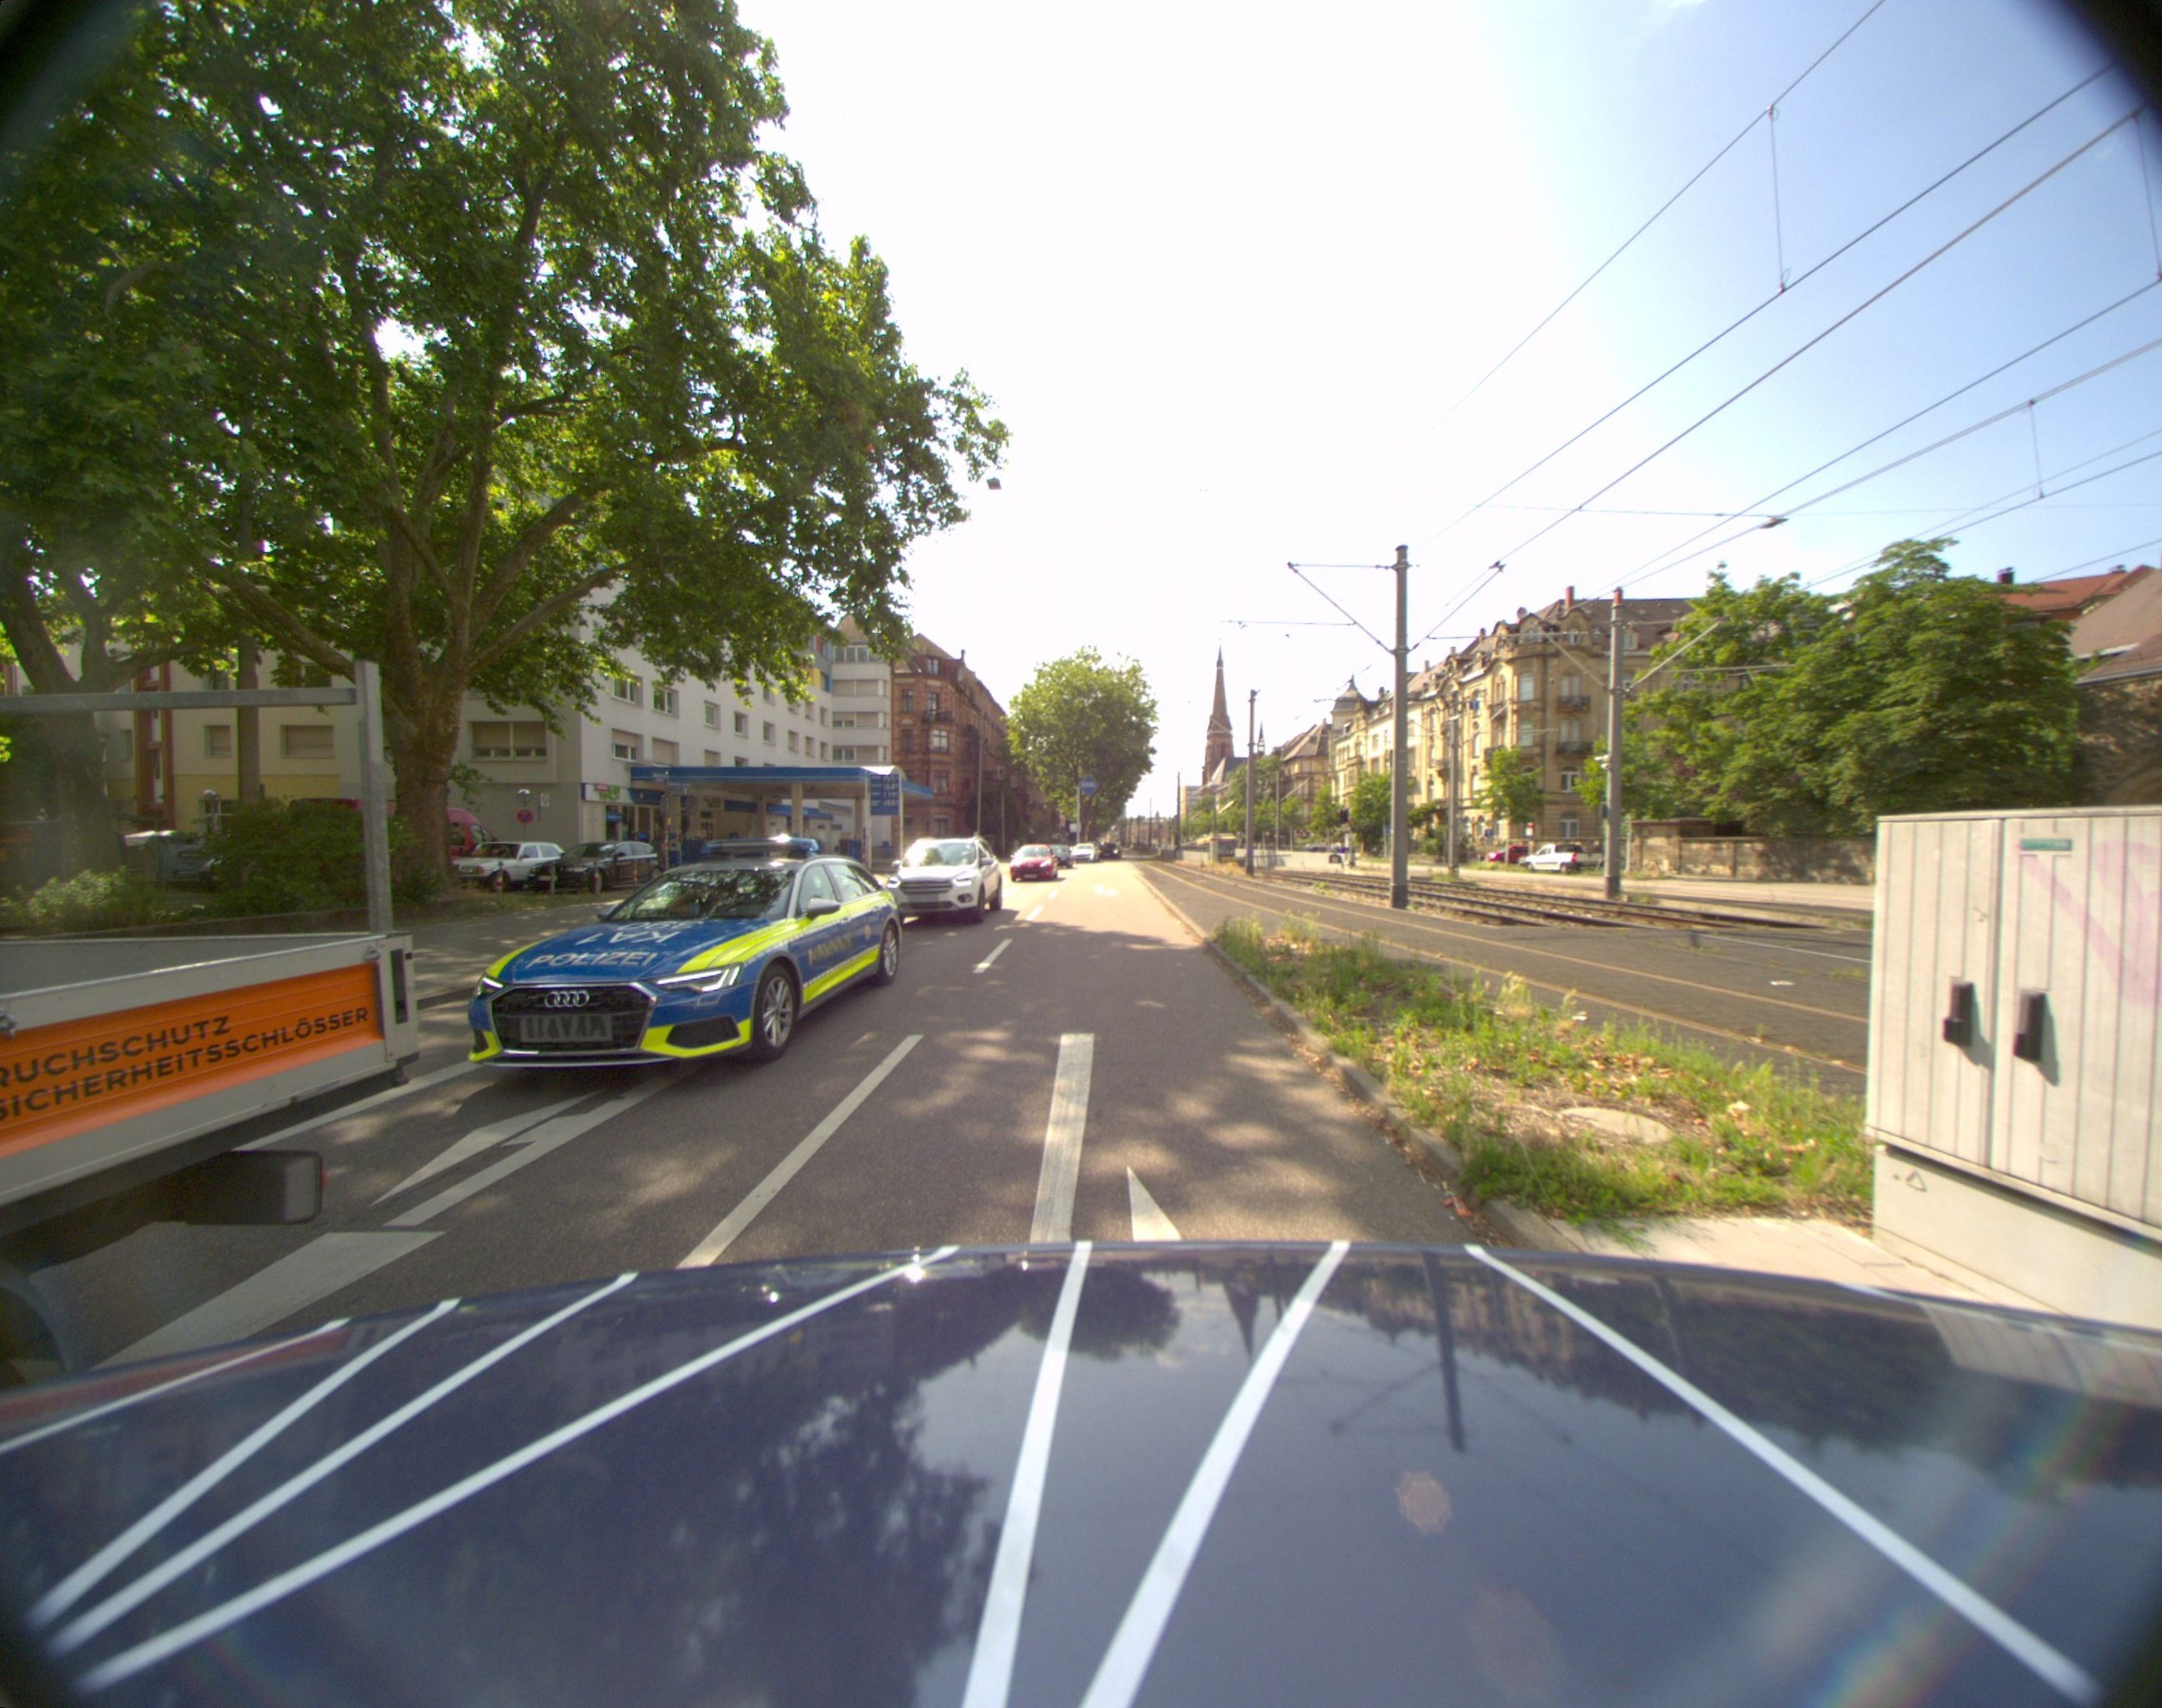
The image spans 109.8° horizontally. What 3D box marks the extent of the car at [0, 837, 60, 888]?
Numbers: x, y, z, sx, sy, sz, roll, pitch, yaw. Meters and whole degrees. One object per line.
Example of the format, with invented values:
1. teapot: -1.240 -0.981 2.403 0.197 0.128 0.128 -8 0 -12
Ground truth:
1. car: -33.386 0.311 22.172 1.663 1.511 3.999 -2 2 1

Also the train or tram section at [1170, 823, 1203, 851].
1. train or tram section: 14.150 -2.334 103.319 2.860 3.560 12.832 0 1 1

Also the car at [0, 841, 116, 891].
1. car: -30.743 0.371 21.464 1.766 1.356 3.999 -2 2 1

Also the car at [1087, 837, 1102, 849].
1. car: 1.582 -1.286 88.979 1.500 1.296 3.491 -2 2 4

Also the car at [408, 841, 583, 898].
1. car: -16.271 0.354 21.409 1.756 1.402 3.999 0 2 1

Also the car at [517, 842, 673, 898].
1. car: -13.538 0.375 21.480 1.756 1.402 3.999 0 2 1

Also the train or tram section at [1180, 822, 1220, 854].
1. train or tram section: 13.998 -1.962 90.459 2.860 3.560 12.832 0 1 1

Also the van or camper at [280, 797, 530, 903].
1. van or camper: -19.107 -0.169 21.971 2.107 2.626 5.349 -2 2 3

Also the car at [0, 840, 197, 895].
1. car: -28.249 0.341 21.457 1.766 1.356 3.999 -2 2 1

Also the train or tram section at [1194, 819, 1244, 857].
1. train or tram section: 13.885 -1.618 77.571 2.860 3.560 12.832 0 1 1

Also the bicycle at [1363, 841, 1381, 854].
1. bicycle: 29.037 -0.623 75.883 0.659 1.241 2.942 -3 1 2

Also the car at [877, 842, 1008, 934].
1. car: -2.730 0.584 16.068 1.764 1.597 4.678 -1 1 1

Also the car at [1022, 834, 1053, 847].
1. car: -6.369 -1.968 111.737 4.412 1.907 1.999 0 2 0

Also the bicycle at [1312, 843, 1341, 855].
1. bicycle: 26.241 -0.561 81.223 2.956 1.239 0.792 0 2 -11

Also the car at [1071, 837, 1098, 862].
1. car: 0.334 -0.368 57.235 1.952 1.598 5.074 0 3 1

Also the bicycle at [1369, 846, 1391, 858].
1. bicycle: 25.807 -0.187 65.650 1.710 1.063 0.471 0 2 -4

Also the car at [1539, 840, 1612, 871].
1. car: 24.952 0.032 38.499 1.671 1.408 3.846 2 2 10

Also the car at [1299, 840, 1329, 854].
1. car: 25.943 -0.790 84.747 1.803 1.518 4.487 -2 2 -2

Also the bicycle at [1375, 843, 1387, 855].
1. bicycle: 28.850 -0.483 73.035 0.428 1.133 2.023 -3 1 2

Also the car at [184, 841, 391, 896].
1. car: -21.965 0.341 21.292 1.477 1.286 3.999 -2 2 1

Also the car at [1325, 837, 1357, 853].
1. car: 25.511 -0.880 74.729 1.690 1.494 4.707 0 1 2

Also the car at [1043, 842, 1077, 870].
1. car: -1.212 0.074 44.714 1.764 1.491 4.186 0 2 1

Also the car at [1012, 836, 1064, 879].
1. car: -1.701 0.090 31.240 1.764 1.598 4.678 0 2 1

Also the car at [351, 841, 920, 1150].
1. car: -3.031 0.758 6.819 1.871 1.643 5.152 -1 2 2

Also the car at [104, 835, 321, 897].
1. car: -24.632 0.263 21.796 1.529 1.595 3.999 -1 2 1
